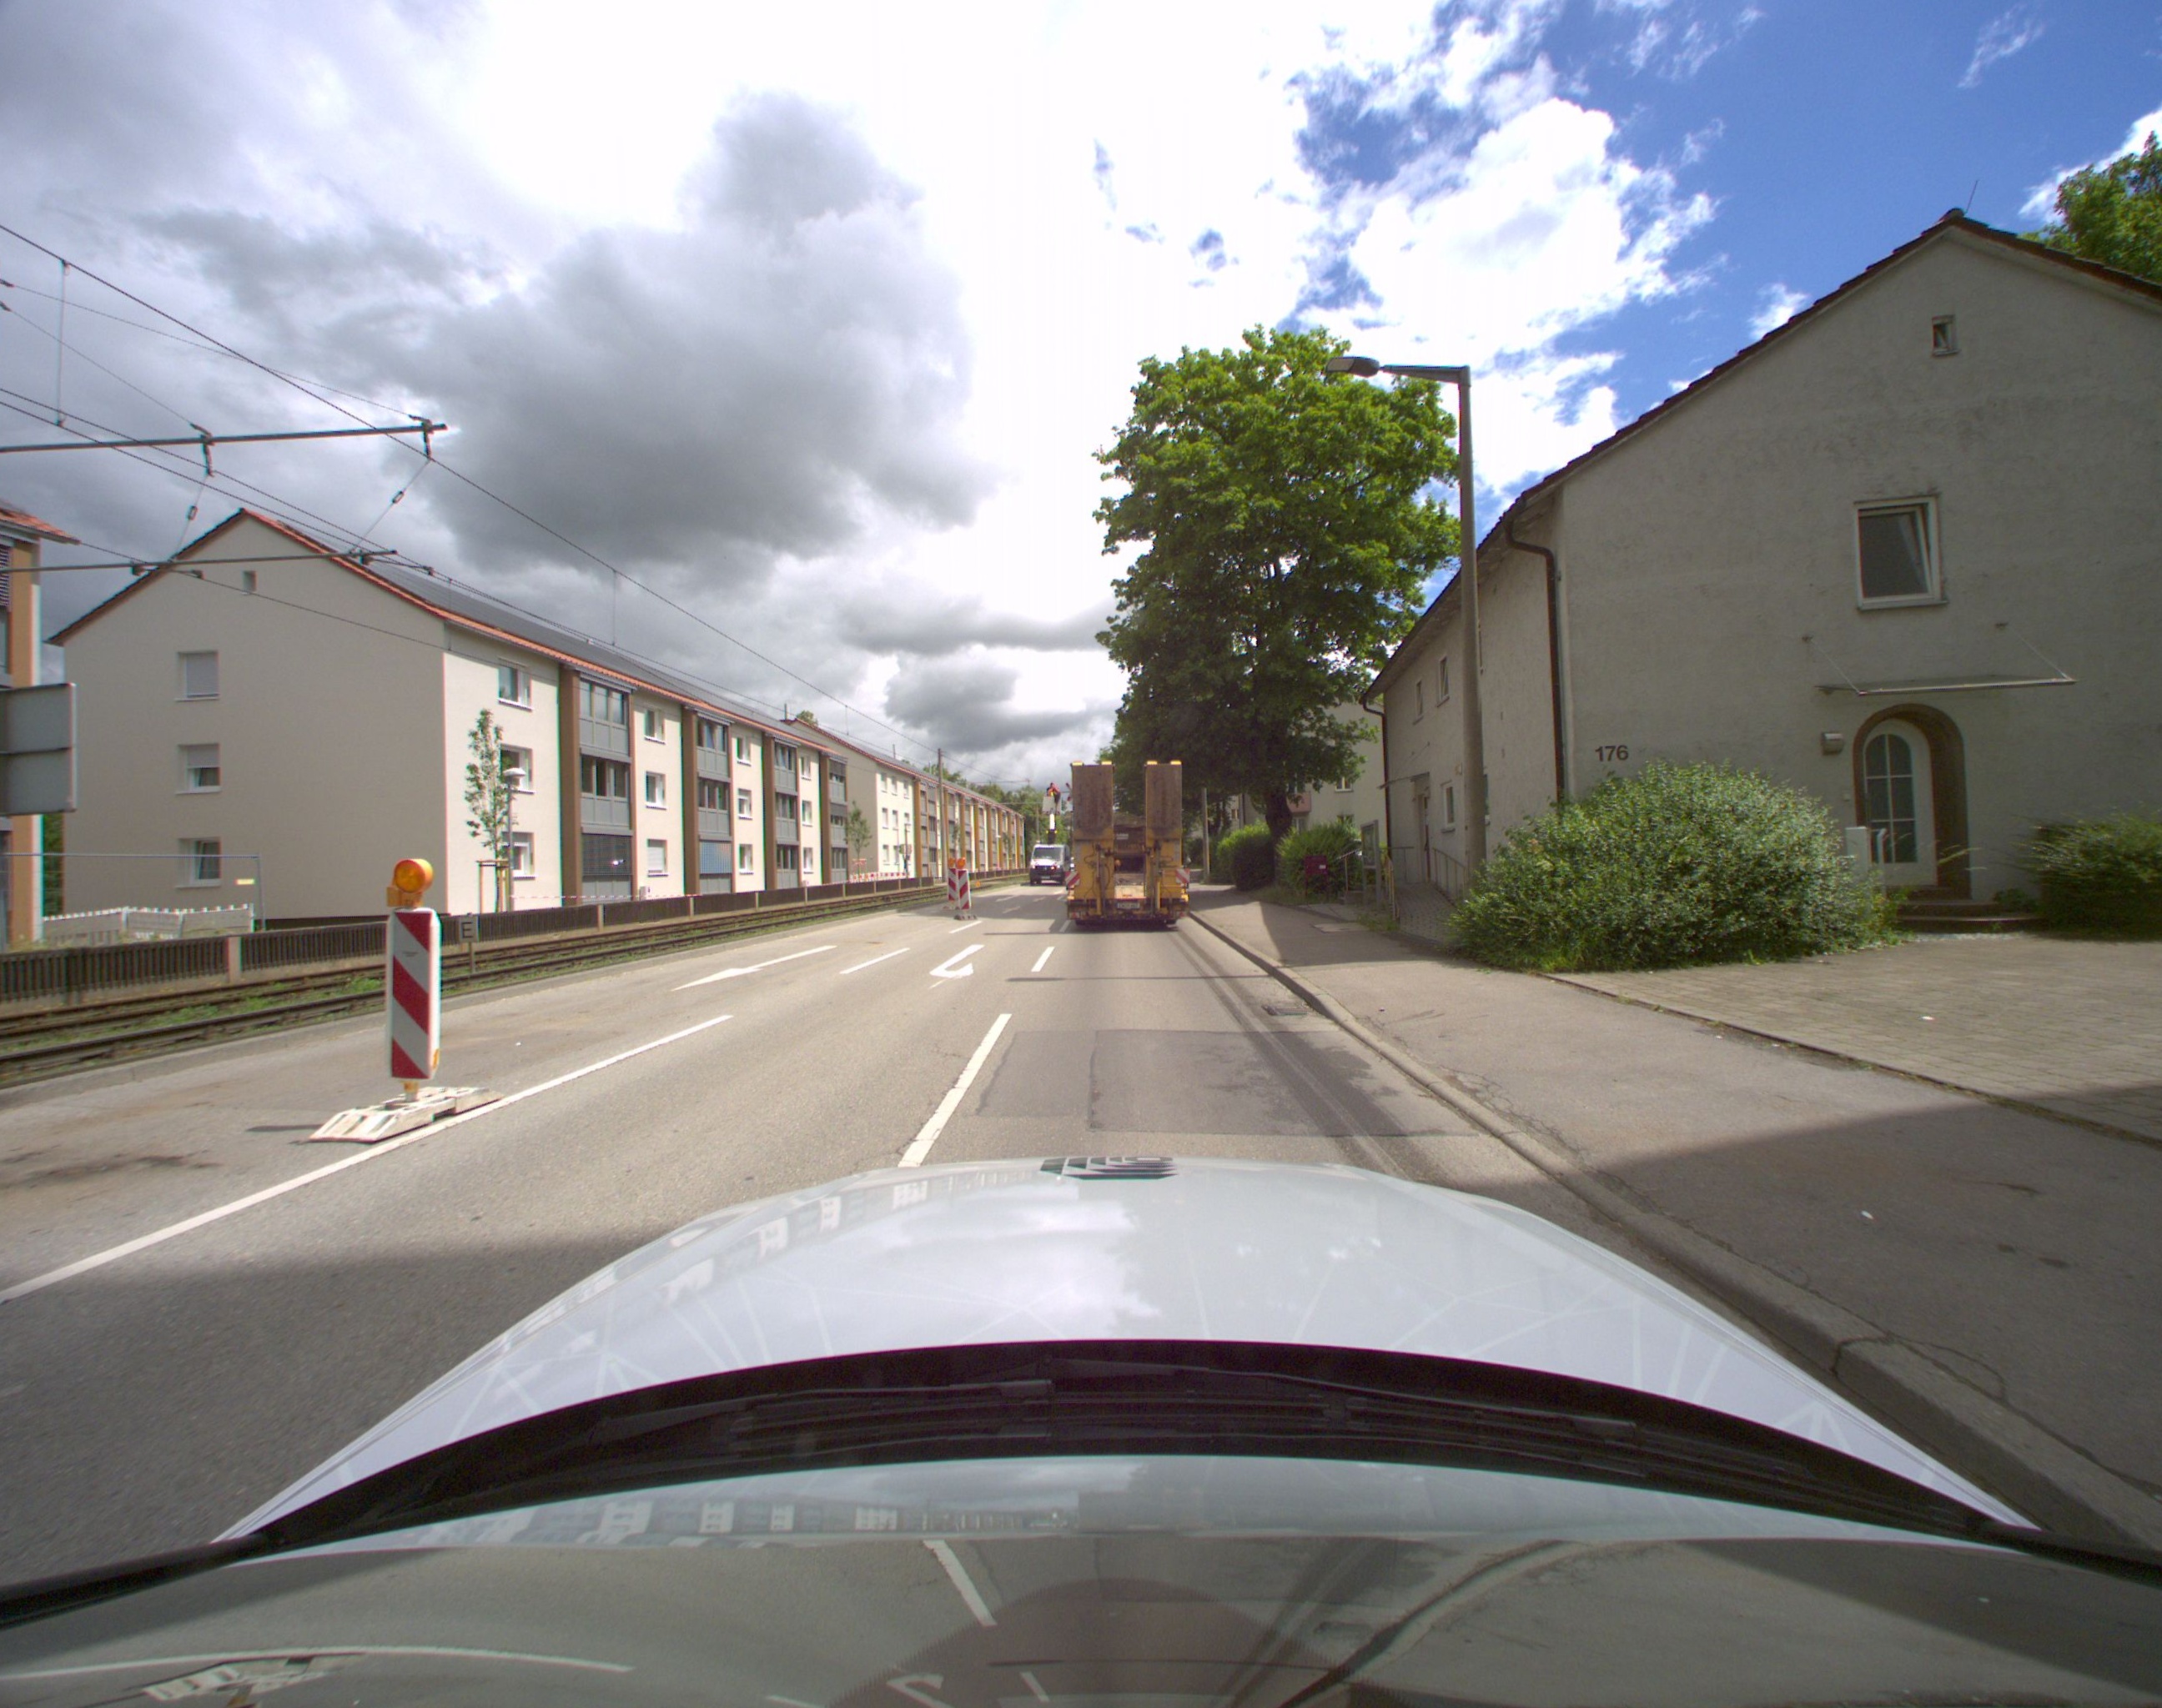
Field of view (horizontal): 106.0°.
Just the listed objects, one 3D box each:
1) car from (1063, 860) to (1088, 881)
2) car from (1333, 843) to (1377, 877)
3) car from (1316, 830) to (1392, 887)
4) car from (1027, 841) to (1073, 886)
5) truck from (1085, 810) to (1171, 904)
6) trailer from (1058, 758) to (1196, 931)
[{"bbox_3d":[-0.396,1.234,62.887,1.711,1.552,3.919,-1,-1,3],"label":"car"},{"bbox_3d":[13.178,0.260,39.344,1.651,1.480,3.706,-3,-1,14],"label":"car"},{"bbox_3d":[8.915,0.173,26.876,1.800,1.649,4.012,-3,-1,11],"label":"car"},{"bbox_3d":[-1.721,0.534,47.700,1.985,2.430,6.327,-1,0,4],"label":"car"},{"bbox_3d":[1.830,0.127,31.454,2.905,3.167,7.686,0,0,3],"label":"truck"},{"bbox_3d":[1.236,-0.145,22.111,2.811,3.524,11.060,0,0,3],"label":"trailer"}]
